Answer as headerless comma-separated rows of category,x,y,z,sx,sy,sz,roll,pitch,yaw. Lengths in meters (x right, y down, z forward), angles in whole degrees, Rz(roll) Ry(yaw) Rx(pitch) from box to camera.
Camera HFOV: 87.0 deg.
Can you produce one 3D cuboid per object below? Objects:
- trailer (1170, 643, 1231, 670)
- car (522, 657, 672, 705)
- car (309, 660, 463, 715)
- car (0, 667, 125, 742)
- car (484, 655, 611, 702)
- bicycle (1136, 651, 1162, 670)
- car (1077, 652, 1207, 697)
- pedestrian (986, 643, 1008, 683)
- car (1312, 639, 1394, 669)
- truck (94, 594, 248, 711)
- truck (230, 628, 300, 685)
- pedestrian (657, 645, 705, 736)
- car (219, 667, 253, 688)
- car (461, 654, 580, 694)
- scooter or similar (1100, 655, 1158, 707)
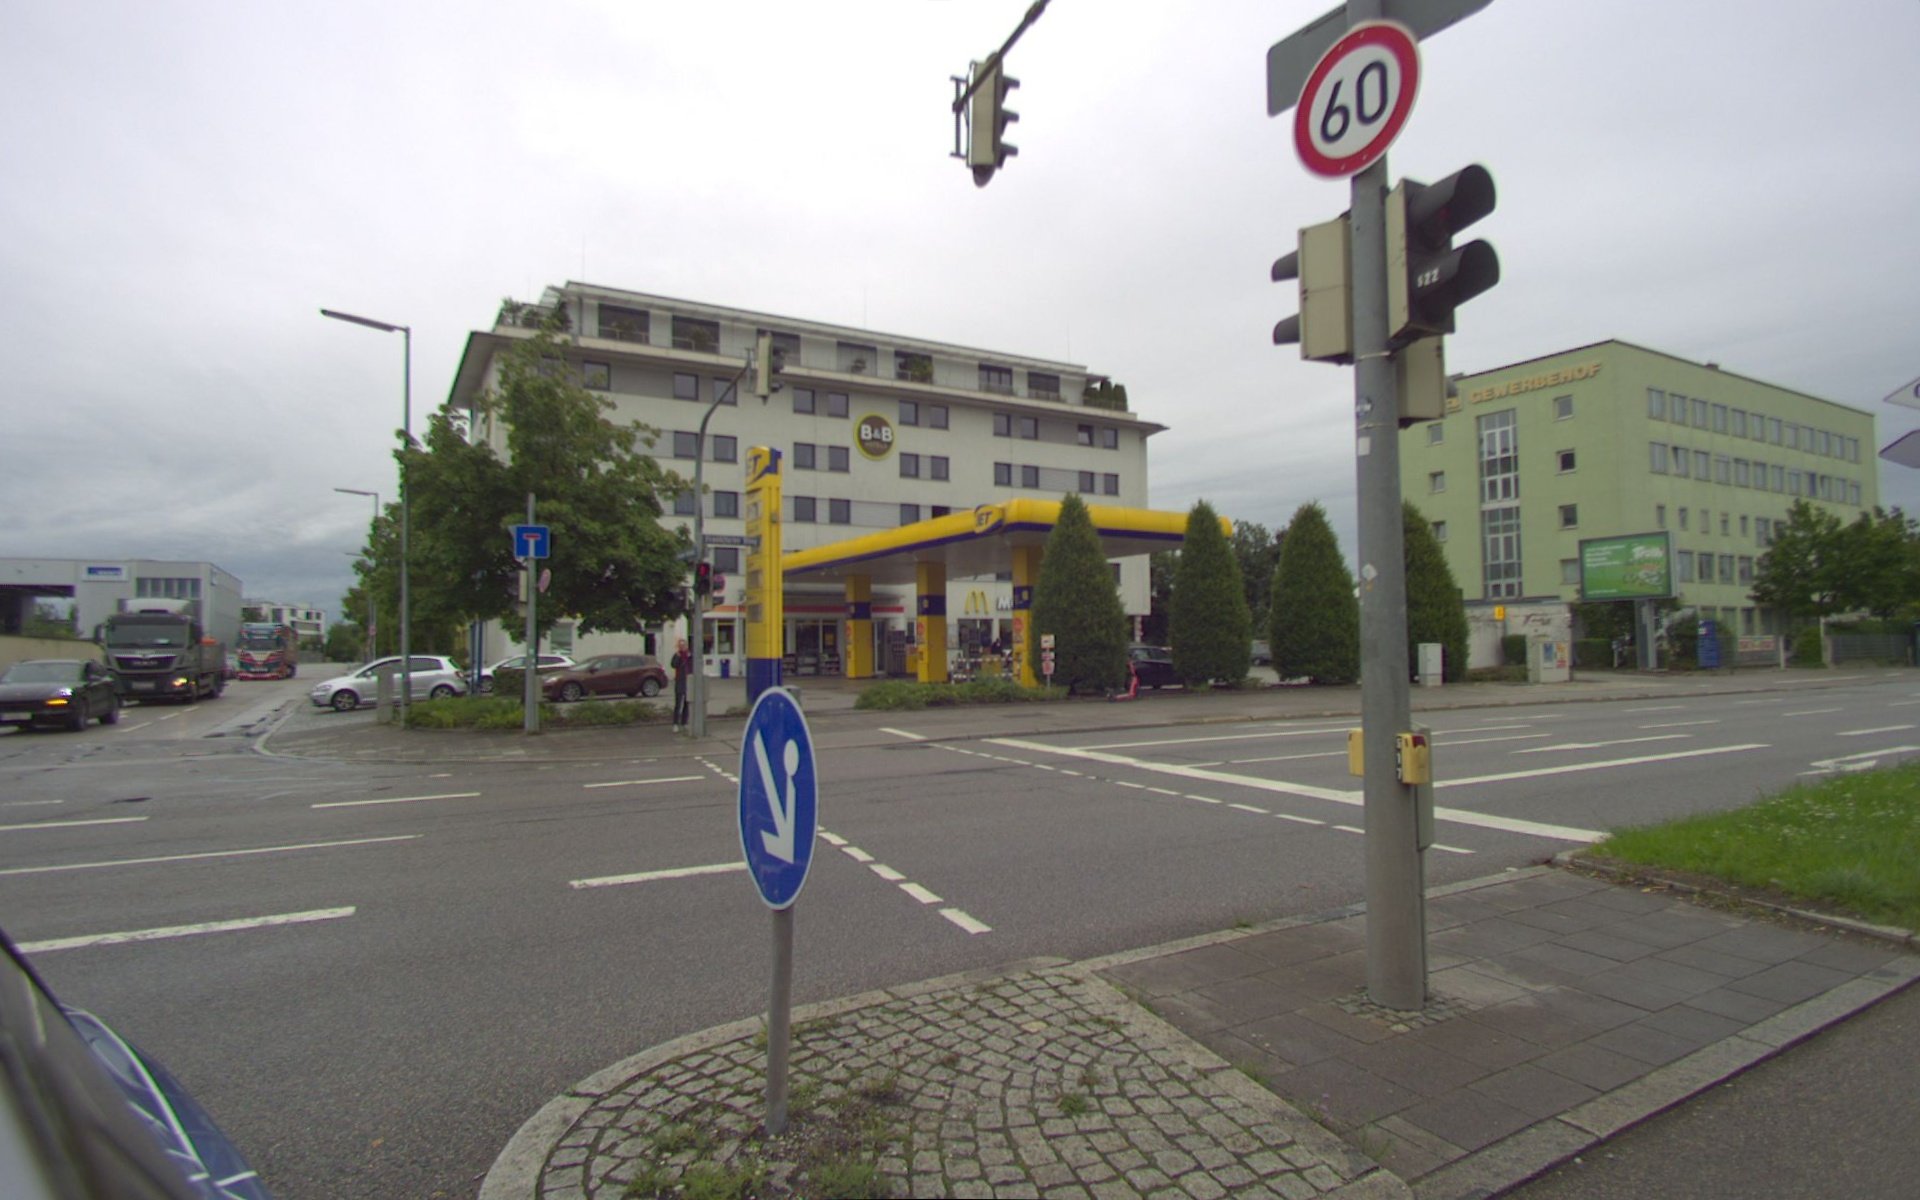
trailer,15.719,3.735,66.328,1.607,1.663,3.820,1,-5,-32
car,-11.741,2.612,32.886,4.295,1.395,1.706,2,-5,-41
car,-17.217,2.592,30.415,3.911,1.497,1.633,1,-5,-33
car,-21.687,2.403,23.990,1.965,1.544,4.647,1,-3,-28
car,-14.351,2.709,35.259,3.909,1.497,1.633,1,-5,-29
bicycle,11.513,3.688,61.702,1.845,1.125,0.450,2,-5,-40
car,5.947,2.420,33.030,3.932,1.342,1.805,1,-5,-32
pedestrian,1.614,2.740,44.087,0.633,1.742,0.710,1,-5,-34
car,20.242,2.783,52.097,3.932,1.450,1.836,1,-5,-31
truck,-30.346,2.040,39.486,2.565,3.885,11.974,1,-3,-28
truck,-51.219,4.181,74.917,2.829,3.861,11.974,1,-3,-28
pedestrian,-5.255,1.679,19.038,0.676,1.627,0.807,1,-2,-31
car,-61.355,6.578,85.796,1.841,1.719,4.115,1,-5,-29
car,-17.518,2.943,40.359,4.121,1.489,1.914,1,-5,-31
scooter or similar,4.277,2.038,25.636,1.518,1.252,0.358,0,-1,-26
